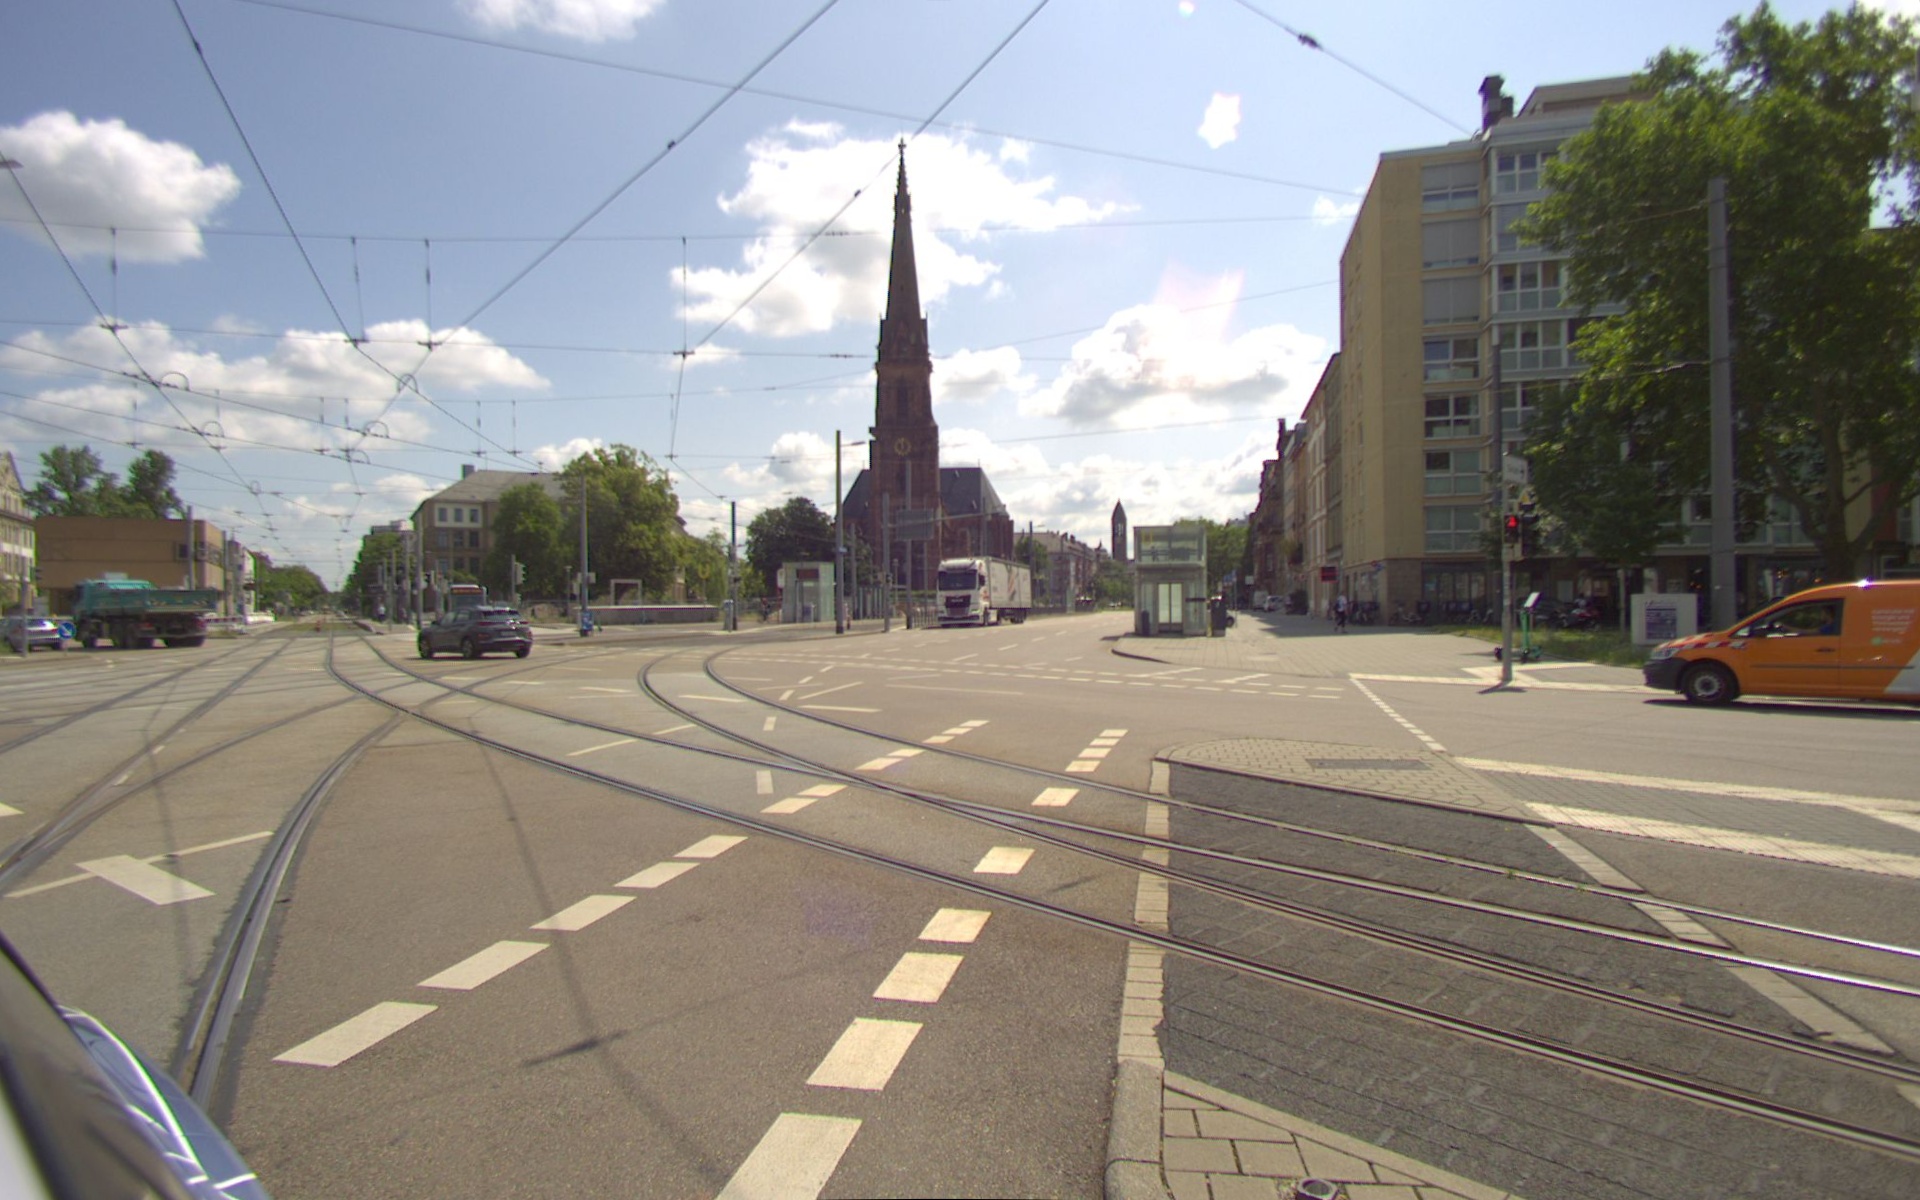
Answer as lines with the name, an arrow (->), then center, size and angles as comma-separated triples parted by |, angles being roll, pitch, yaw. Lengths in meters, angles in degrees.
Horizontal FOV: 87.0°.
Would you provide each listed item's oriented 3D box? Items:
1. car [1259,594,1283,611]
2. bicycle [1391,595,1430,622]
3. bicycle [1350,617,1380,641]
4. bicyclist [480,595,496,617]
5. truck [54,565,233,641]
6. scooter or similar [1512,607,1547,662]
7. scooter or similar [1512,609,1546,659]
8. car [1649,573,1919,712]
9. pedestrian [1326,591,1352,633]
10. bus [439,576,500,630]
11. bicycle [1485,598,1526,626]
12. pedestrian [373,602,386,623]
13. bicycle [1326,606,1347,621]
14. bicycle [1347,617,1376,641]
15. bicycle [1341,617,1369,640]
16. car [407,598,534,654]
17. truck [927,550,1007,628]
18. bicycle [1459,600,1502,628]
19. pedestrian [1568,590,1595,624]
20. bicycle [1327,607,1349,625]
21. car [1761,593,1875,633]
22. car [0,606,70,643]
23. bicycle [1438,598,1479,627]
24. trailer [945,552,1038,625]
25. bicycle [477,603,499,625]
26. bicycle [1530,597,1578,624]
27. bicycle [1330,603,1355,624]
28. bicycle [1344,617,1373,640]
car -> 33.715, 0.262, 109.763 | 1.977, 1.730, 3.989 | -1, 0, 9
bicycle -> 21.560, 0.400, 48.460 | 1.588, 1.274, 0.491 | -1, 0, 16
bicycle -> 19.851, 1.426, 49.659 | 1.260, 1.154, 0.457 | -1, -1, 12
bicyclist -> -43.575, 0.528, 93.437 | 1.107, 2.029, 1.323 | 1, -1, -35
truck -> -35.518, 0.216, 43.910 | 8.702, 3.021, 3.321 | -2, -1, 31
scooter or similar -> 12.651, 0.757, 22.475 | 0.456, 1.209, 0.550 | 0, -1, -45
scooter or similar -> 12.949, 0.769, 23.033 | 0.410, 1.133, 0.557 | 0, -1, -45
car -> 12.333, 0.573, 14.118 | 4.243, 1.779, 1.745 | -2, -2, 44
pedestrian -> 14.512, 0.450, 38.763 | 0.874, 1.572, 0.718 | -1, -1, 24
bus -> -33.976, 0.268, 69.940 | 2.902, 3.473, 7.969 | 0, -1, -33
bicycle -> 25.558, 0.557, 47.423 | 1.588, 1.274, 0.491 | -1, 0, 16
pedestrian -> -49.959, 1.085, 87.092 | 0.896, 1.836, 1.023 | 1, -1, -35
bicycle -> 21.869, 0.760, 58.742 | 1.054, 0.856, 0.377 | -1, -1, 11
bicycle -> 19.987, 1.434, 50.392 | 1.260, 1.154, 0.457 | -1, -1, 12
bicycle -> 20.286, 1.460, 51.948 | 1.260, 1.154, 0.457 | -1, -1, 12
car -> -14.661, 0.793, 30.235 | 4.102, 1.572, 1.792 | -2, -2, 38
truck -> 0.513, -0.589, 57.906 | 2.937, 4.150, 6.844 | -1, 0, 15
bicycle -> 22.905, 0.610, 44.586 | 1.588, 1.176, 0.491 | -1, 0, 16
pedestrian -> 24.694, 0.293, 40.205 | 0.752, 1.336, 0.560 | -1, 0, 11
bicycle -> 20.941, 0.879, 56.024 | 1.054, 0.945, 0.377 | -1, -1, 12
car -> 34.303, 0.524, 40.610 | 1.861, 1.522, 3.914 | -1, -1, 13
car -> -38.746, 1.035, 41.632 | 4.320, 1.426, 1.836 | -2, -2, 29
bicycle -> 22.495, 0.571, 45.684 | 1.588, 1.274, 0.491 | -1, 0, 16
trailer -> 2.276, -0.654, 64.519 | 2.922, 4.107, 13.354 | -1, 0, 15
bicycle -> -43.589, 1.320, 93.460 | 1.227, 2.029, 3.493 | 0, -1, -35
bicycle -> 24.054, 0.429, 41.008 | 1.588, 1.074, 0.491 | -1, 0, 16
bicycle -> 20.461, 0.724, 54.135 | 1.148, 1.083, 0.307 | -1, -1, 12
bicycle -> 20.182, 1.451, 51.249 | 1.260, 1.154, 0.457 | -1, -1, 12
